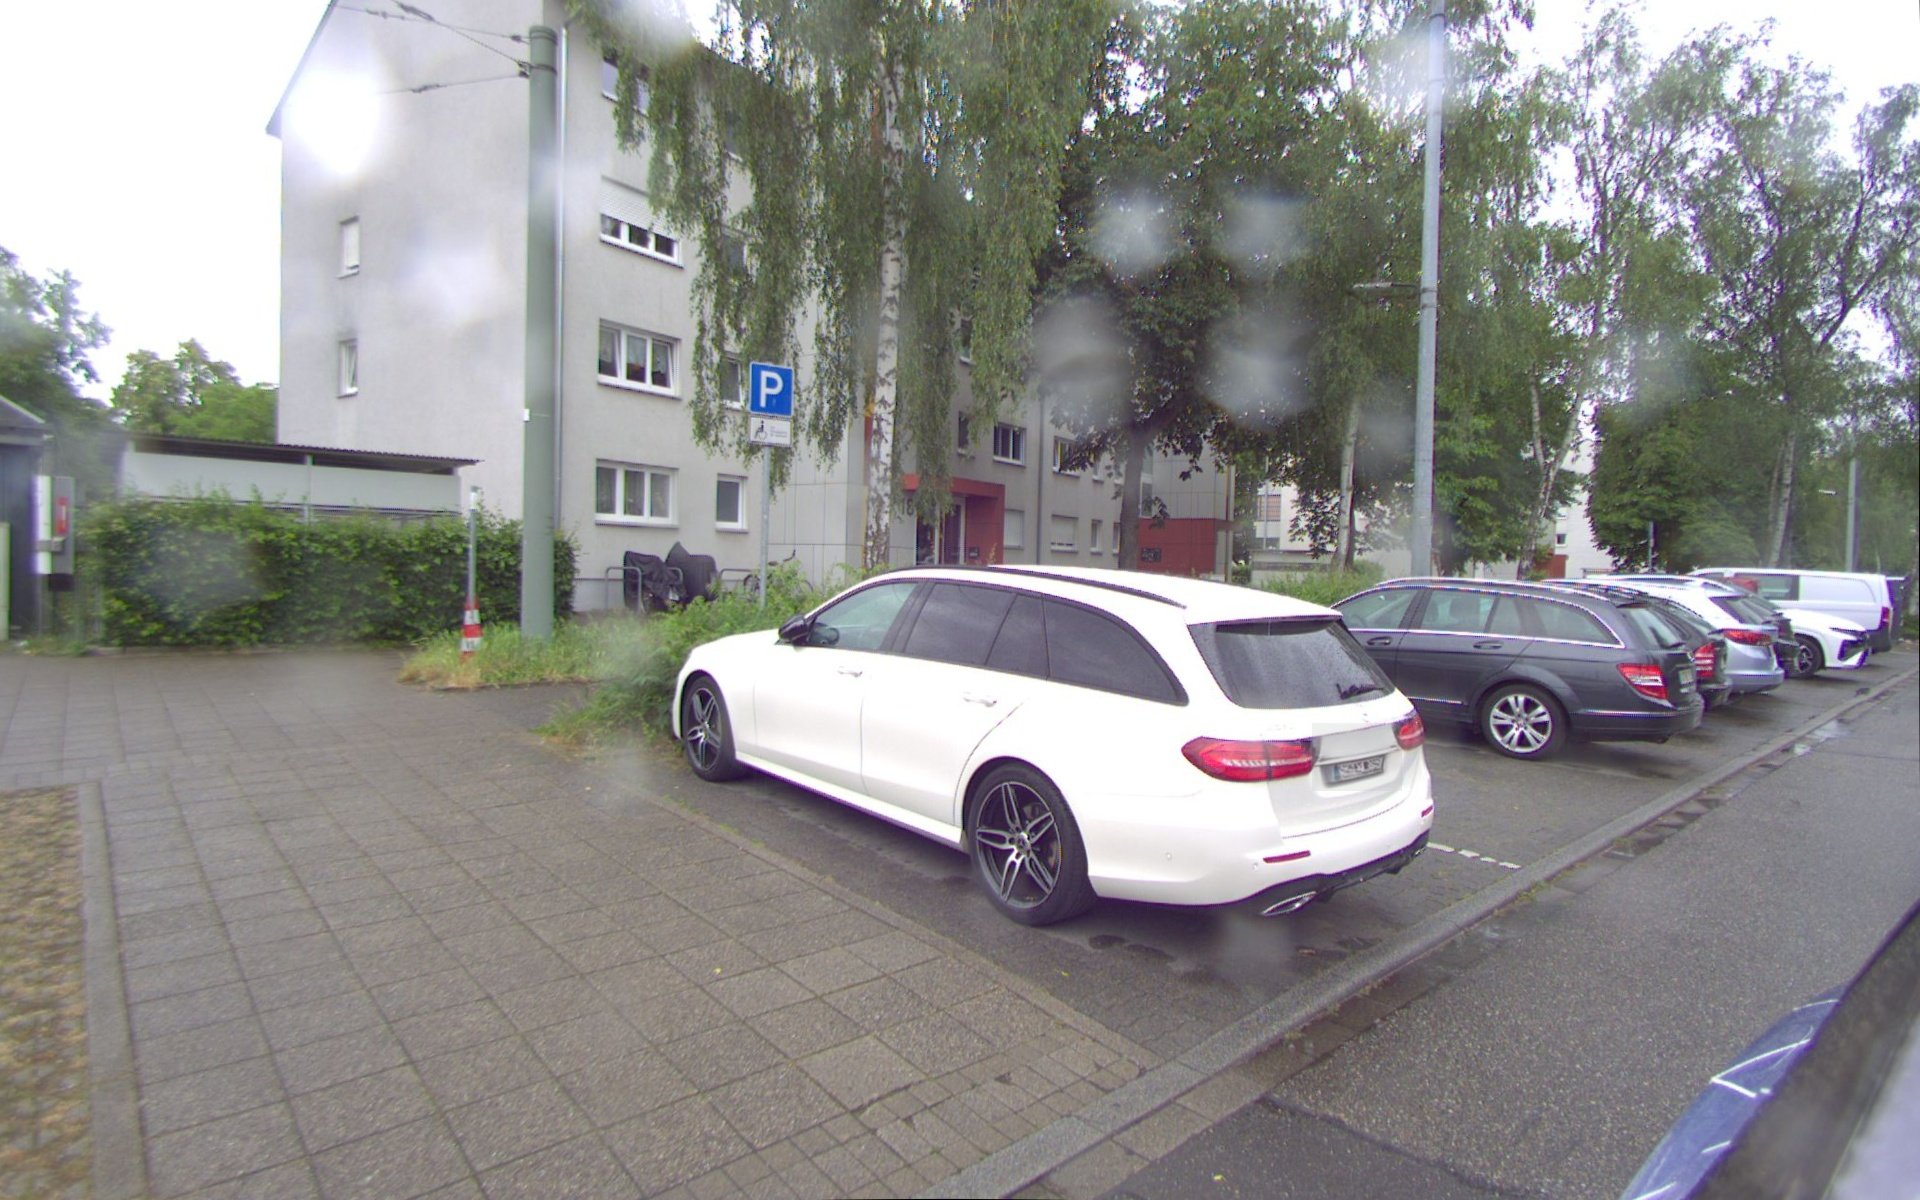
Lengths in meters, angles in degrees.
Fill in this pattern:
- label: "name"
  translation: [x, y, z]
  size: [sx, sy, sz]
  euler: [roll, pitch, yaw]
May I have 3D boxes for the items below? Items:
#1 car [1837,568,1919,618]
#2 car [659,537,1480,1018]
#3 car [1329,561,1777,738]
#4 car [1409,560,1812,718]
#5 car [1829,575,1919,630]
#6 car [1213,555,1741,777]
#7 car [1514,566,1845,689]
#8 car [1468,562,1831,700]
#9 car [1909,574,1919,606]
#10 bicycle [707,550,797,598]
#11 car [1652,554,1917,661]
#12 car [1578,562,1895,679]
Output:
- label: "car"
  translation: [37.764, -0.288, 40.315]
  size: [1.866, 1.937, 3.998]
  euler: [-1, 1, -36]
- label: "car"
  translation: [0.114, 0.474, 5.638]
  size: [1.651, 1.456, 4.622]
  euler: [-1, 5, -41]
- label: "car"
  translation: [6.533, 0.390, 11.506]
  size: [1.653, 1.456, 4.044]
  euler: [-1, 5, -43]
- label: "car"
  translation: [8.205, 0.355, 13.056]
  size: [1.653, 1.514, 4.044]
  euler: [-1, 5, -43]
- label: "car"
  translation: [34.474, 0.076, 36.839]
  size: [1.866, 1.937, 3.998]
  euler: [-1, 1, -36]
- label: "car"
  translation: [4.608, 0.412, 9.498]
  size: [1.653, 1.456, 4.044]
  euler: [-1, 5, -43]
- label: "car"
  translation: [11.449, 0.326, 16.314]
  size: [1.653, 1.514, 4.044]
  euler: [-1, 5, -43]
- label: "car"
  translation: [9.851, 0.320, 14.697]
  size: [1.653, 1.514, 4.044]
  euler: [-1, 5, -43]
- label: "car"
  translation: [53.281, -0.554, 53.726]
  size: [1.866, 1.701, 3.998]
  euler: [-1, 1, -36]
- label: "bicycle"
  translation: [-4.496, -0.560, 21.994]
  size: [0.701, 1.005, 1.918]
  euler: [0, 1, 37]
- label: "car"
  translation: [17.548, 0.059, 21.696]
  size: [4.172, 1.888, 1.654]
  euler: [6, 5, 43]
- label: "car"
  translation: [13.762, 0.251, 18.164]
  size: [1.651, 1.637, 4.181]
  euler: [-1, 5, -40]
